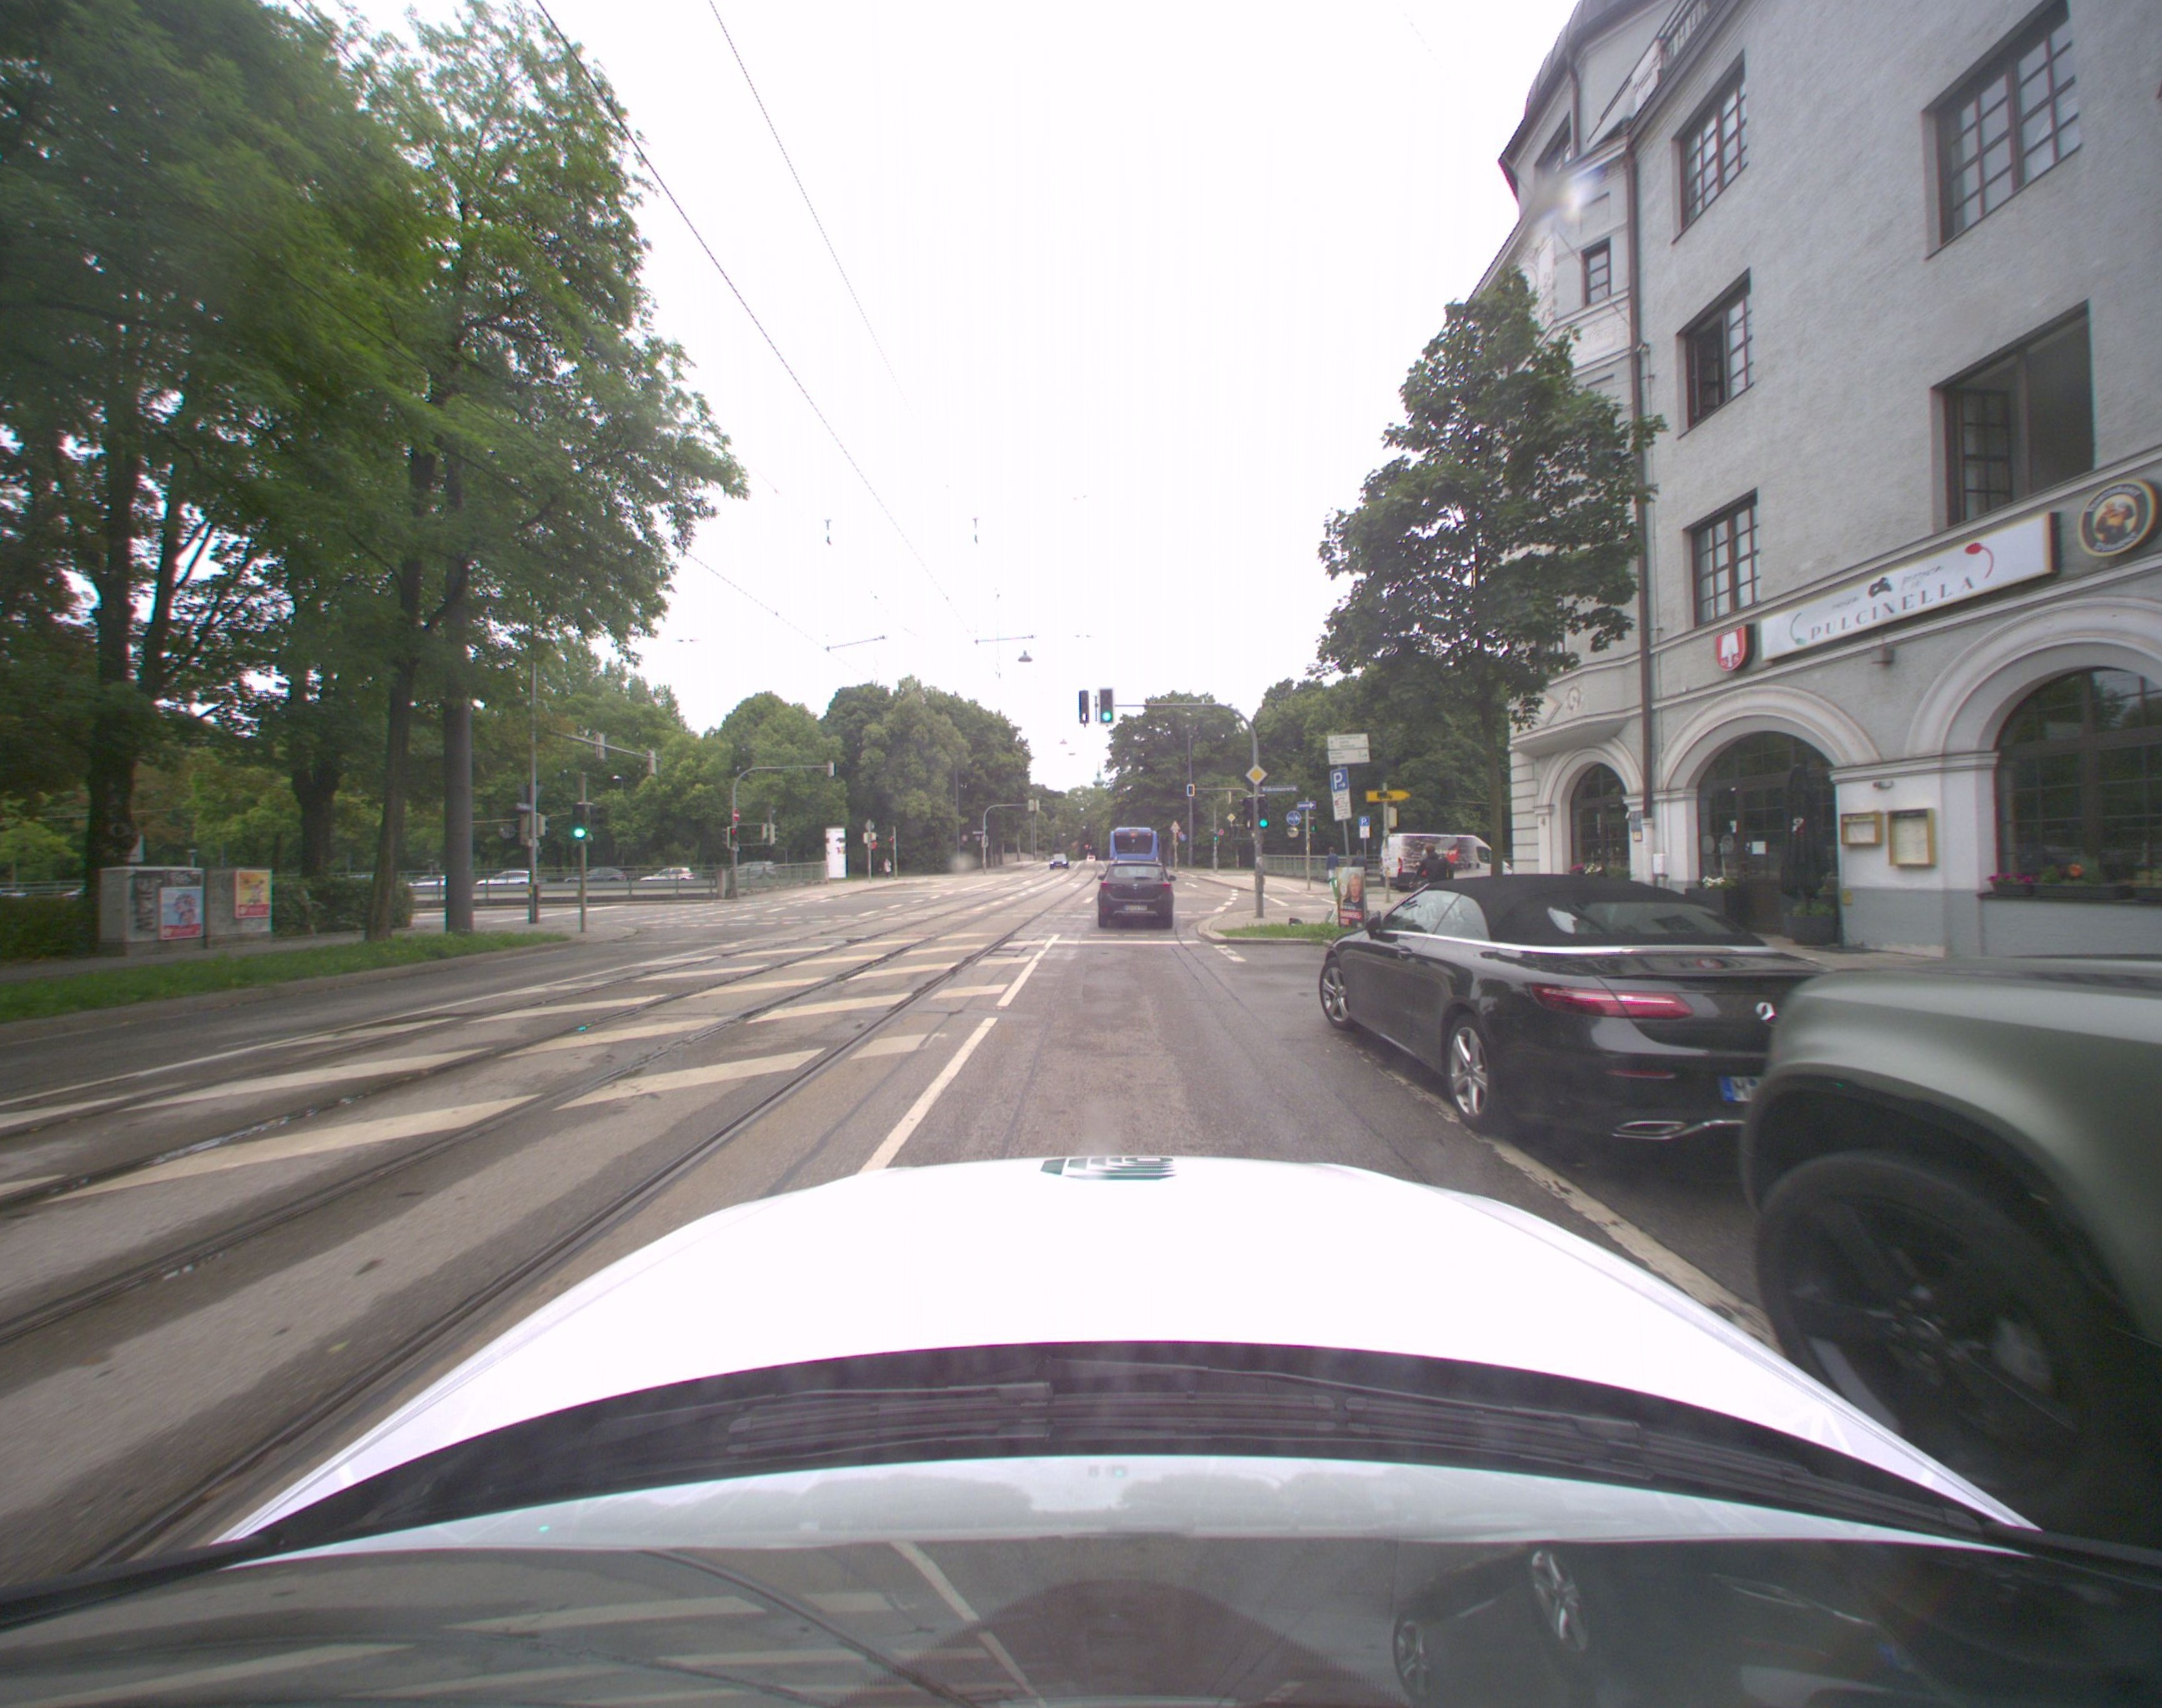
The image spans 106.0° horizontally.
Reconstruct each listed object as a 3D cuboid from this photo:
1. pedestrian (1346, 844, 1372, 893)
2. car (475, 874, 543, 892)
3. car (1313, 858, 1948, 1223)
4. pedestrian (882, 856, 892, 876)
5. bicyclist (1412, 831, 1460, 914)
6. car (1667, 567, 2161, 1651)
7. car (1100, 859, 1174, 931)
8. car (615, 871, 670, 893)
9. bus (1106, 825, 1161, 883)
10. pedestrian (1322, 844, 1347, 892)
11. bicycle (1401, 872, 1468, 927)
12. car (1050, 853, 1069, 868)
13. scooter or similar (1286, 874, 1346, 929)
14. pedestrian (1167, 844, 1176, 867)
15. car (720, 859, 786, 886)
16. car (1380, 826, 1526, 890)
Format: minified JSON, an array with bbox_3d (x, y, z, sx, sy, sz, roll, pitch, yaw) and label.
[{"bbox_3d":[11.593,0.601,34.015,0.827,2.014,0.780,1,-1,1],"label":"pedestrian"},{"bbox_3d":[-39.779,2.032,56.701,3.720,1.185,1.249,1,-1,-4],"label":"car"},{"bbox_3d":[3.056,0.853,5.787,1.708,1.591,4.328,1,-1,2],"label":"car"},{"bbox_3d":[-14.594,0.909,61.336,0.529,1.501,0.589,1,-1,6],"label":"pedestrian"},{"bbox_3d":[7.539,0.387,17.317,0.722,1.729,0.726,1,-1,0],"label":"bicyclist"},{"bbox_3d":[2.867,0.441,0.255,1.908,1.906,4.806,1,-1,0],"label":"car"},{"bbox_3d":[1.270,0.921,19.661,1.595,1.556,3.525,1,-1,1],"label":"car"},{"bbox_3d":[-30.652,1.969,56.985,3.103,1.452,1.249,1,-1,-4],"label":"car"},{"bbox_3d":[2.854,0.029,46.284,2.670,2.997,6.959,1,-1,0],"label":"bus"},{"bbox_3d":[10.808,0.600,34.753,0.827,2.014,0.780,1,-1,1],"label":"pedestrian"},{"bbox_3d":[7.538,0.941,17.457,0.577,1.078,1.912,-3,-1,0],"label":"bicycle"},{"bbox_3d":[-2.078,0.662,79.821,1.782,1.370,3.400,1,-1,0],"label":"car"},{"bbox_3d":[4.932,0.979,17.140,1.184,1.096,0.592,0,-1,15],"label":"scooter or similar"},{"bbox_3d":[8.403,0.161,75.740,0.760,2.116,0.853,1,-1,1],"label":"pedestrian"},{"bbox_3d":[-23.253,1.318,57.792,4.016,1.887,1.488,1,-1,-5],"label":"car"},{"bbox_3d":[15.867,0.174,34.900,5.281,2.613,2.229,1,-1,-2],"label":"car"}]
